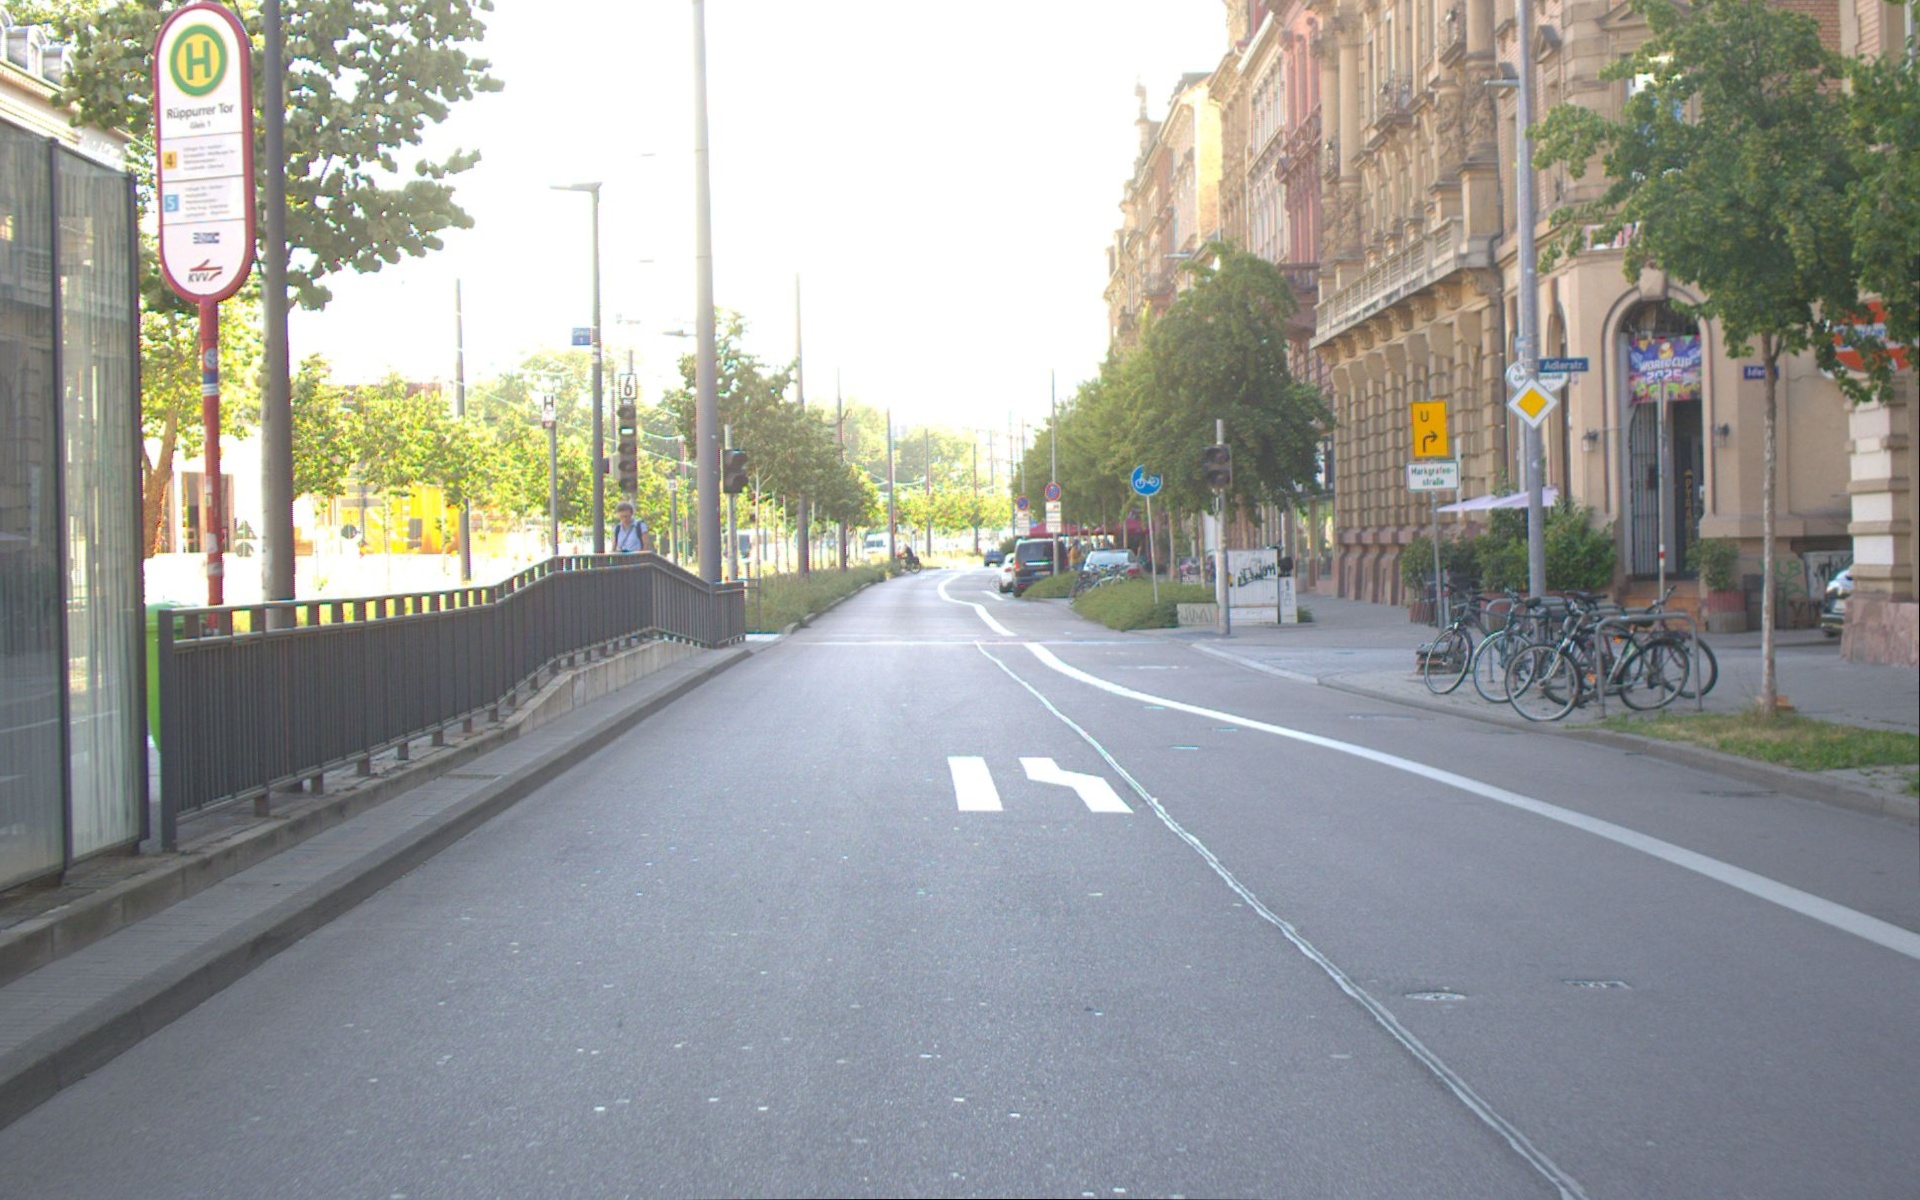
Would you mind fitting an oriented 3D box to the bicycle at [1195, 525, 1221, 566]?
[{"bbox_3d":[8.886,-1.961,123.221,0.661,1.397,2.352,-2,2,-1],"label":"bicycle"}]

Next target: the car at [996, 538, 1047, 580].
[{"bbox_3d":[2.326,-1.557,129.819,1.849,1.452,4.156,-1,2,1],"label":"car"}]

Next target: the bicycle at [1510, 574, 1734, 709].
[{"bbox_3d":[6.023,0.371,31.324,1.825,1.061,0.664,-4,2,-5],"label":"bicycle"}]

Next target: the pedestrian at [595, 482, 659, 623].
[{"bbox_3d":[-3.943,-0.555,40.725,0.655,1.637,0.867,-1,0,0],"label":"pedestrian"}]

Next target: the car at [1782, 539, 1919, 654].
[{"bbox_3d":[12.673,-0.088,43.348,4.140,1.383,1.619,-2,0,-12],"label":"car"}]

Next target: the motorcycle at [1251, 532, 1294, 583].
[{"bbox_3d":[8.625,-1.175,94.983,0.795,1.304,2.852,-3,2,-1],"label":"motorcycle"}]

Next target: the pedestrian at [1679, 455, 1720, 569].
[{"bbox_3d":[11.369,-1.345,52.852,0.447,1.734,0.542,-1,1,28],"label":"pedestrian"}]

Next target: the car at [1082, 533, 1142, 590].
[{"bbox_3d":[4.412,-1.141,100.051,1.637,1.481,4.212,-3,2,2],"label":"car"}]

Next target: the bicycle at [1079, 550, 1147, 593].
[{"bbox_3d":[4.076,-0.772,91.553,1.691,1.044,0.489,-3,1,-8],"label":"bicycle"}]

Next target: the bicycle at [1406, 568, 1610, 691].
[{"bbox_3d":[5.443,0.290,34.179,1.825,1.061,0.664,-4,2,-5],"label":"bicycle"}]

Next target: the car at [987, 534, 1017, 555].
[{"bbox_3d":[3.148,-4.123,255.738,1.798,1.459,3.999,-1,1,6],"label":"car"}]

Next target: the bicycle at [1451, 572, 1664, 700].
[{"bbox_3d":[5.681,0.334,32.707,1.825,1.061,0.664,-4,2,-5],"label":"bicycle"}]

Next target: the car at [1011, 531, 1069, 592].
[{"bbox_3d":[2.692,-1.332,116.501,1.885,1.930,4.473,-1,2,1],"label":"car"}]

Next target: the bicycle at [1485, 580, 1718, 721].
[{"bbox_3d":[5.581,0.430,29.951,1.825,1.061,0.664,-4,2,-5],"label":"bicycle"}]

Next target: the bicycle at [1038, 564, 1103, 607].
[{"bbox_3d":[3.049,-0.402,94.791,1.691,1.044,0.489,-5,1,0],"label":"bicycle"}]
